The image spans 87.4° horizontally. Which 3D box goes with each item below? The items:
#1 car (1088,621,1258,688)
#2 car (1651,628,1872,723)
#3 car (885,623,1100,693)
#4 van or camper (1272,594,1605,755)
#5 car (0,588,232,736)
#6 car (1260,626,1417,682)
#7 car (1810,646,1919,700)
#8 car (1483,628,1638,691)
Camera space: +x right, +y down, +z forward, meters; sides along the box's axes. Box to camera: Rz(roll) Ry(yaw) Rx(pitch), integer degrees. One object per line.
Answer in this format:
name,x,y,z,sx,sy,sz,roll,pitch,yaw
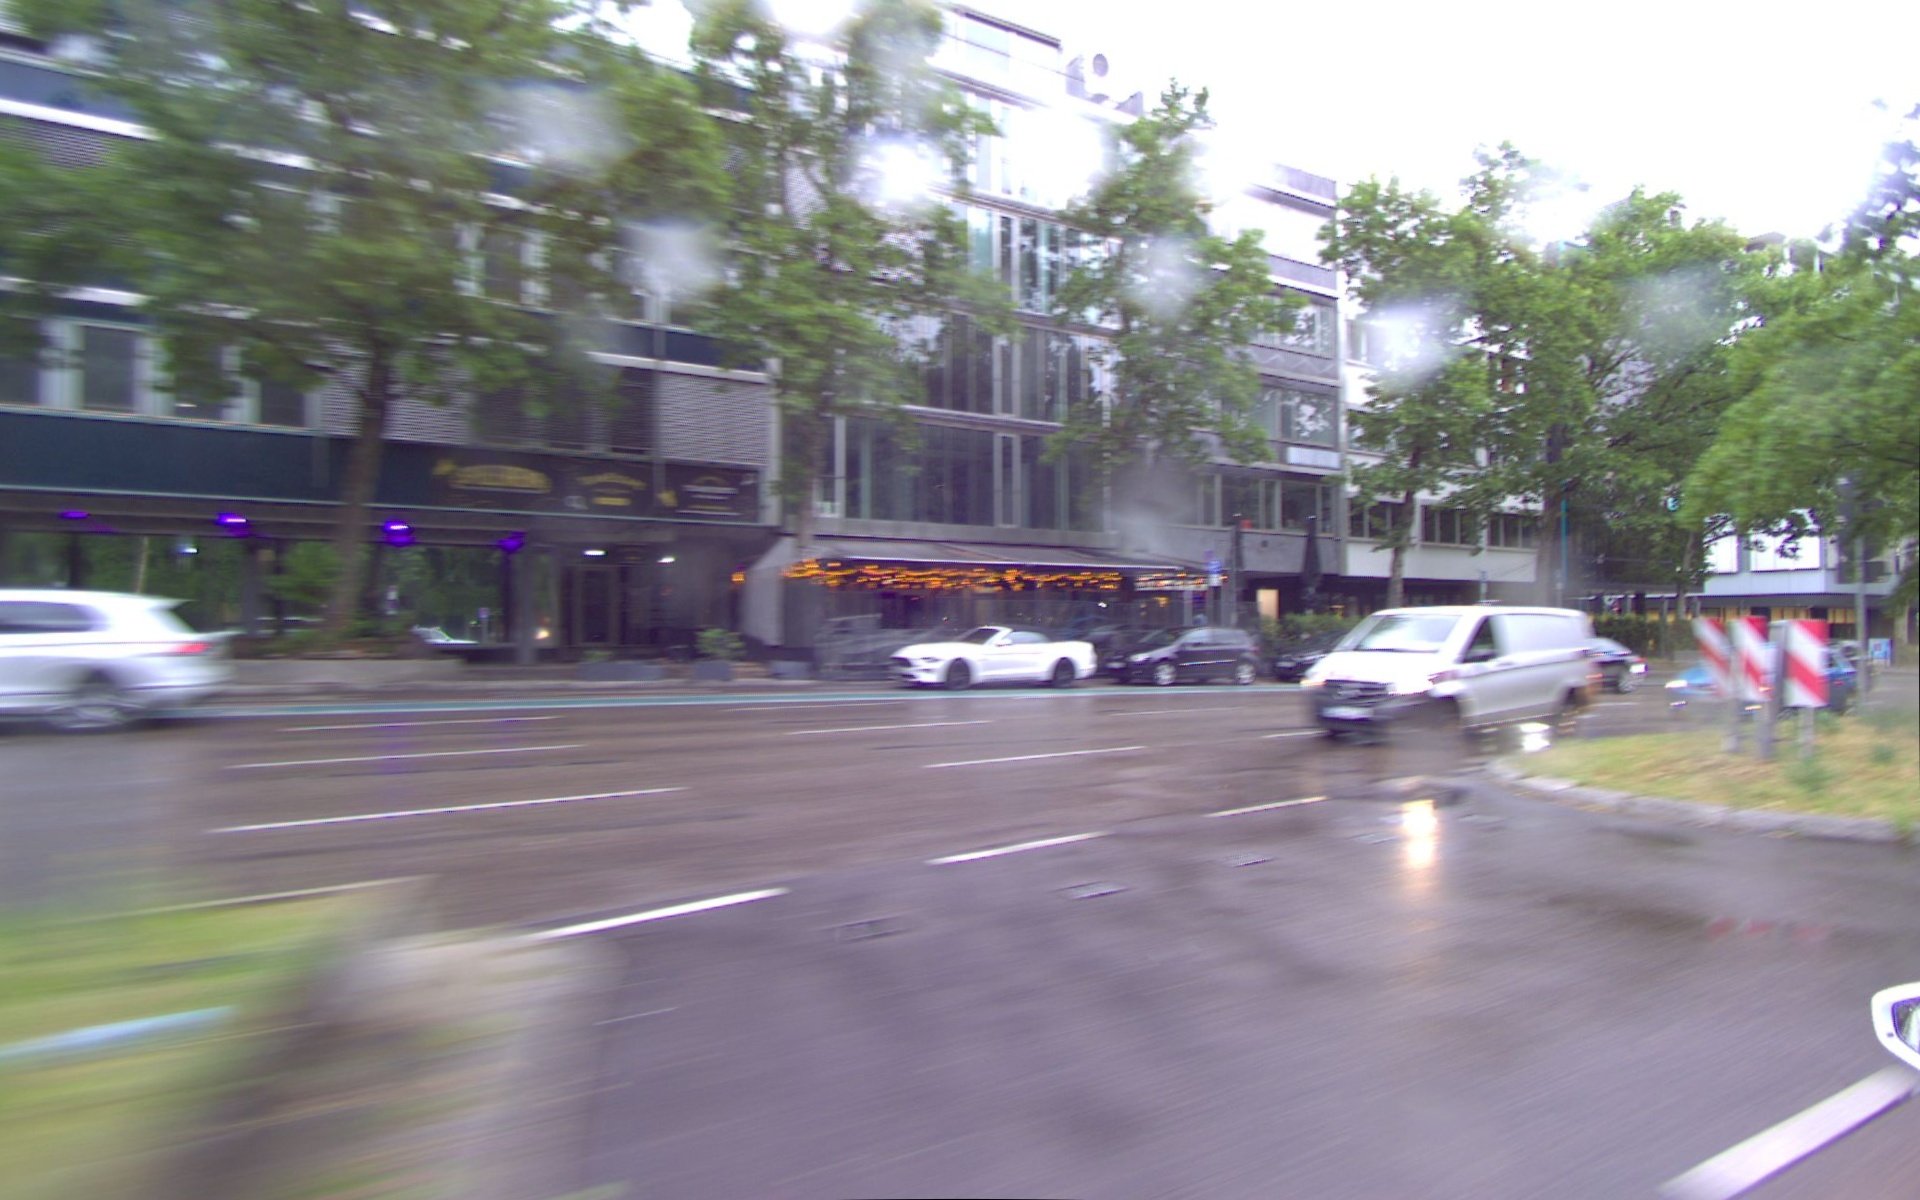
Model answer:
car,5.303,1.290,24.909,3.953,1.528,1.828,1,-1,-30
car,15.170,1.335,18.971,4.344,1.502,1.834,0,0,-30
car,0.776,1.214,22.134,4.627,1.371,1.552,1,0,-30
van or camper,6.948,0.946,14.355,5.197,1.939,1.981,1,-1,-34
car,-11.421,0.682,11.743,4.493,1.636,1.753,1,0,-30
car,10.499,1.439,27.762,4.404,1.428,1.685,1,-1,-31
car,26.798,2.116,29.613,3.010,1.385,1.712,0,0,-29
car,15.495,1.495,25.895,4.048,1.495,1.741,2,-2,-31
